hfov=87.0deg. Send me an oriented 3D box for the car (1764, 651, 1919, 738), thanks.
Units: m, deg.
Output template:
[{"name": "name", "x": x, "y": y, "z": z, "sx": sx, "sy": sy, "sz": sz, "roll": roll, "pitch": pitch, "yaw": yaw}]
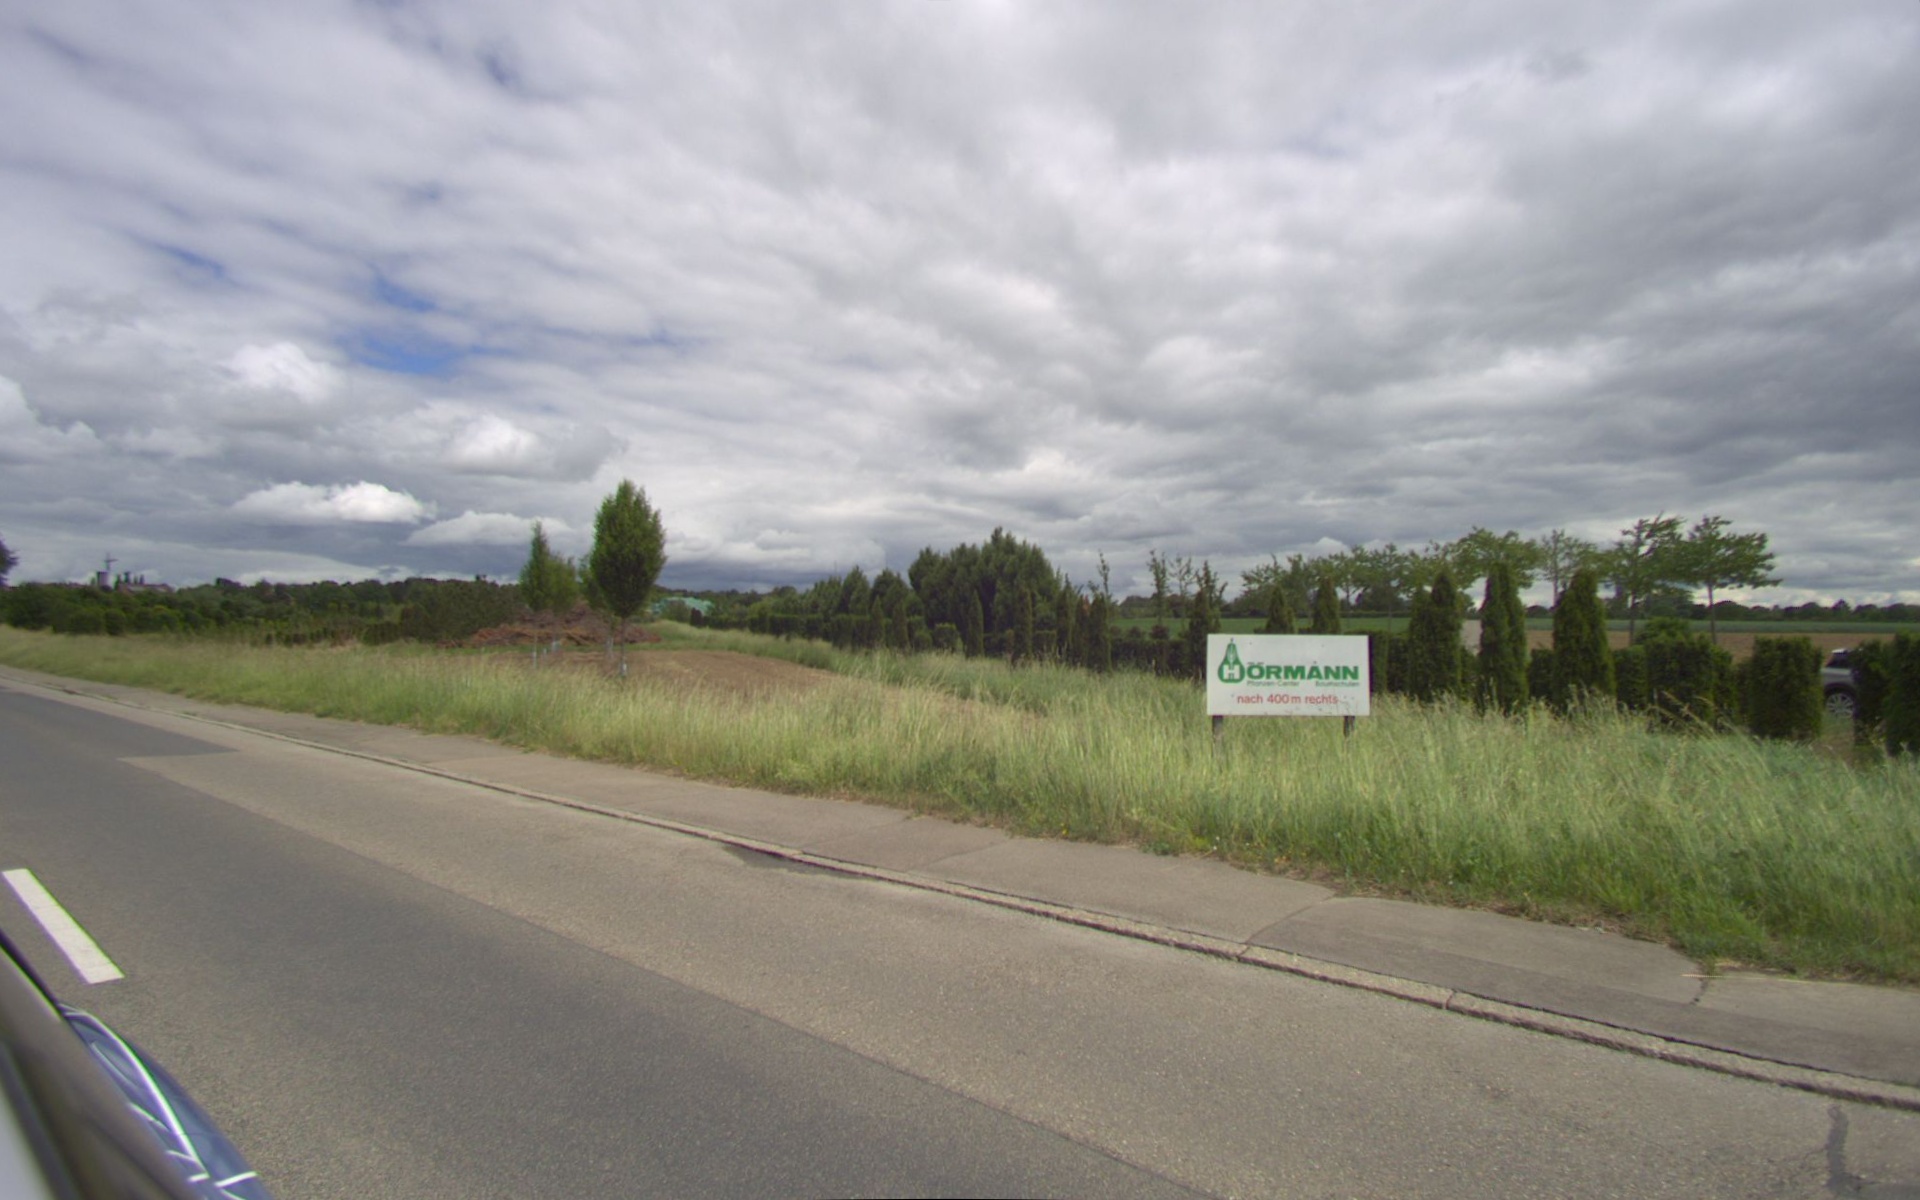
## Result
[{"name": "car", "x": 17.354, "y": 1.684, "z": 18.252, "sx": 1.941, "sy": 1.465, "sz": 4.013, "roll": 1, "pitch": -2, "yaw": -22}]
